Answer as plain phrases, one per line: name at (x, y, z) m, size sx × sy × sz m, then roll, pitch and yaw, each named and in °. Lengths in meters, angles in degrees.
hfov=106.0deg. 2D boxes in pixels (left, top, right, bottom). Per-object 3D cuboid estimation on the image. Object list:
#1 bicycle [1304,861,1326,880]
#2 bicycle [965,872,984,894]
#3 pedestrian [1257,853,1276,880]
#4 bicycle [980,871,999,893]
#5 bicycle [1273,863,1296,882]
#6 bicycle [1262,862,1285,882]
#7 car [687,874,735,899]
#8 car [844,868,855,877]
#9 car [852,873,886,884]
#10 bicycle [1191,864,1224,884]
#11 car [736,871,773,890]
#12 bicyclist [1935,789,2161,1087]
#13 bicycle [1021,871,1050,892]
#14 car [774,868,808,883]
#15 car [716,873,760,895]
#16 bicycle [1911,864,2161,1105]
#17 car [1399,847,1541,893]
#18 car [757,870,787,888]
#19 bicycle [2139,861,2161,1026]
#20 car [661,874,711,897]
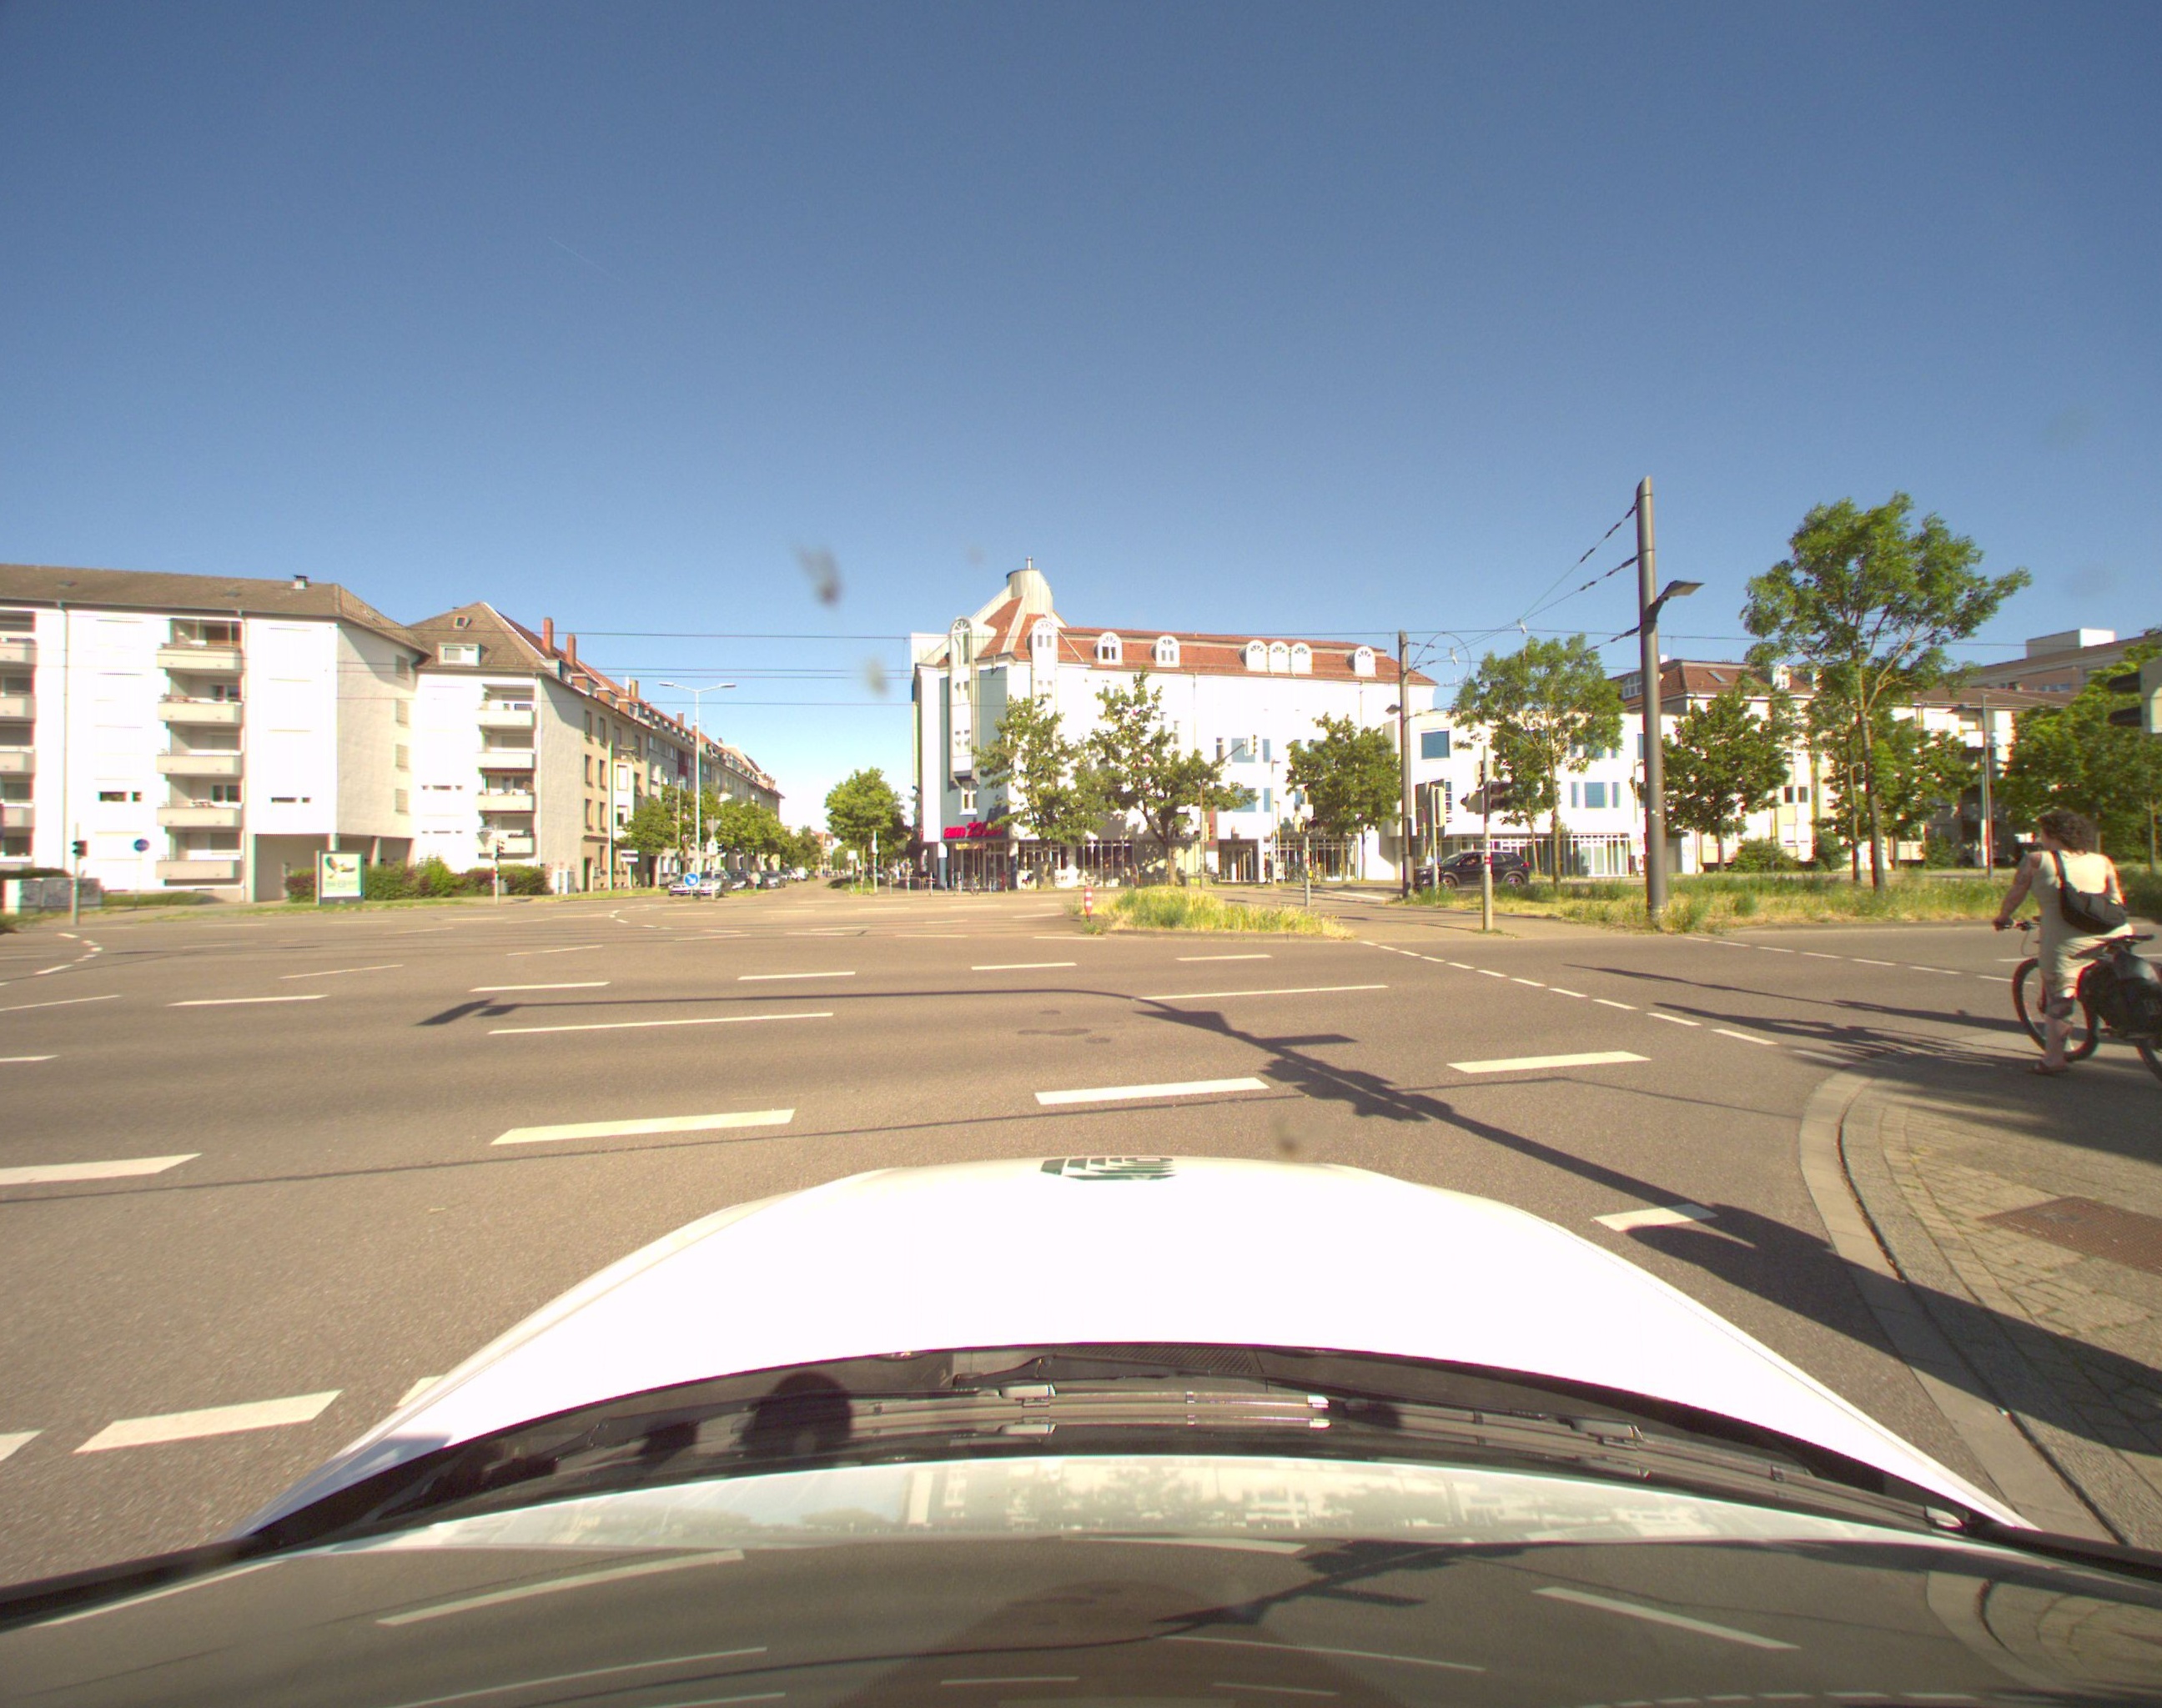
bicycle at (14.803, 1.055, 51.604) m, size 0.560 × 1.182 × 1.863 m, roll -1°, pitch -1°, yaw -11°
bicycle at (-5.168, 1.383, 39.460) m, size 0.473 × 1.027 × 1.504 m, roll -1°, pitch -1°, yaw -23°
pedestrian at (12.007, 0.784, 52.689) m, size 0.991 × 1.723 × 0.651 m, roll -1°, pitch -1°, yaw -14°
bicycle at (-4.520, 1.373, 40.136) m, size 0.474 × 1.027 × 1.504 m, roll -1°, pitch -1°, yaw -24°
bicycle at (12.889, 1.149, 51.599) m, size 0.561 × 1.182 × 1.861 m, roll -1°, pitch -1°, yaw -14°
bicycle at (12.073, 1.122, 51.100) m, size 0.561 × 1.182 × 1.861 m, roll -1°, pitch -1°, yaw -14°
car at (-22.885, 1.991, 50.519) m, size 1.688 × 1.432 × 4.383 m, roll 2°, pitch -2°, yaw -11°
car at (-48.785, 3.912, 171.605) m, size 1.995 × 1.756 × 4.500 m, roll 0°, pitch -2°, yaw -12°
car at (-23.355, 2.733, 89.748) m, size 3.571 × 1.223 × 1.723 m, roll 0°, pitch -2°, yaw -14°
bicycle at (7.608, 1.200, 48.902) m, size 1.868 × 1.182 × 0.559 m, roll -1°, pitch -1°, yaw -17°
car at (-25.239, 2.026, 63.018) m, size 1.688 × 1.432 × 4.384 m, roll 2°, pitch -2°, yaw -10°
bicyclist at (6.711, 0.522, 5.577) m, size 0.783 × 1.824 × 1.142 m, roll -2°, pitch -1°, yaw 26°
bicycle at (-2.364, 1.429, 42.393) m, size 1.507 × 1.027 × 0.472 m, roll -1°, pitch -1°, yaw -2°
car at (-41.695, 3.082, 117.152) m, size 4.513 × 2.014 × 1.989 m, roll 0°, pitch -2°, yaw -15°
car at (-23.938, 2.103, 56.989) m, size 1.687 × 1.432 × 4.387 m, roll 2°, pitch -2°, yaw -8°
bicycle at (6.703, 0.756, 5.533) m, size 0.783 × 1.348 × 2.091 m, roll -2°, pitch -1°, yaw 26°
car at (14.828, 0.621, 31.204) m, size 4.491 × 1.609 × 1.998 m, roll -1°, pitch -1°, yaw -3°
car at (-27.009, 2.180, 71.299) m, size 1.689 × 1.432 × 4.382 m, roll 2°, pitch -2°, yaw -11°
bicycle at (8.753, 0.719, 5.625) m, size 0.783 × 1.348 × 2.276 m, roll -2°, pitch -1°, yaw 26°
car at (-25.679, 2.011, 53.055) m, size 1.688 × 1.432 × 4.384 m, roll 2°, pitch -2°, yaw -10°
